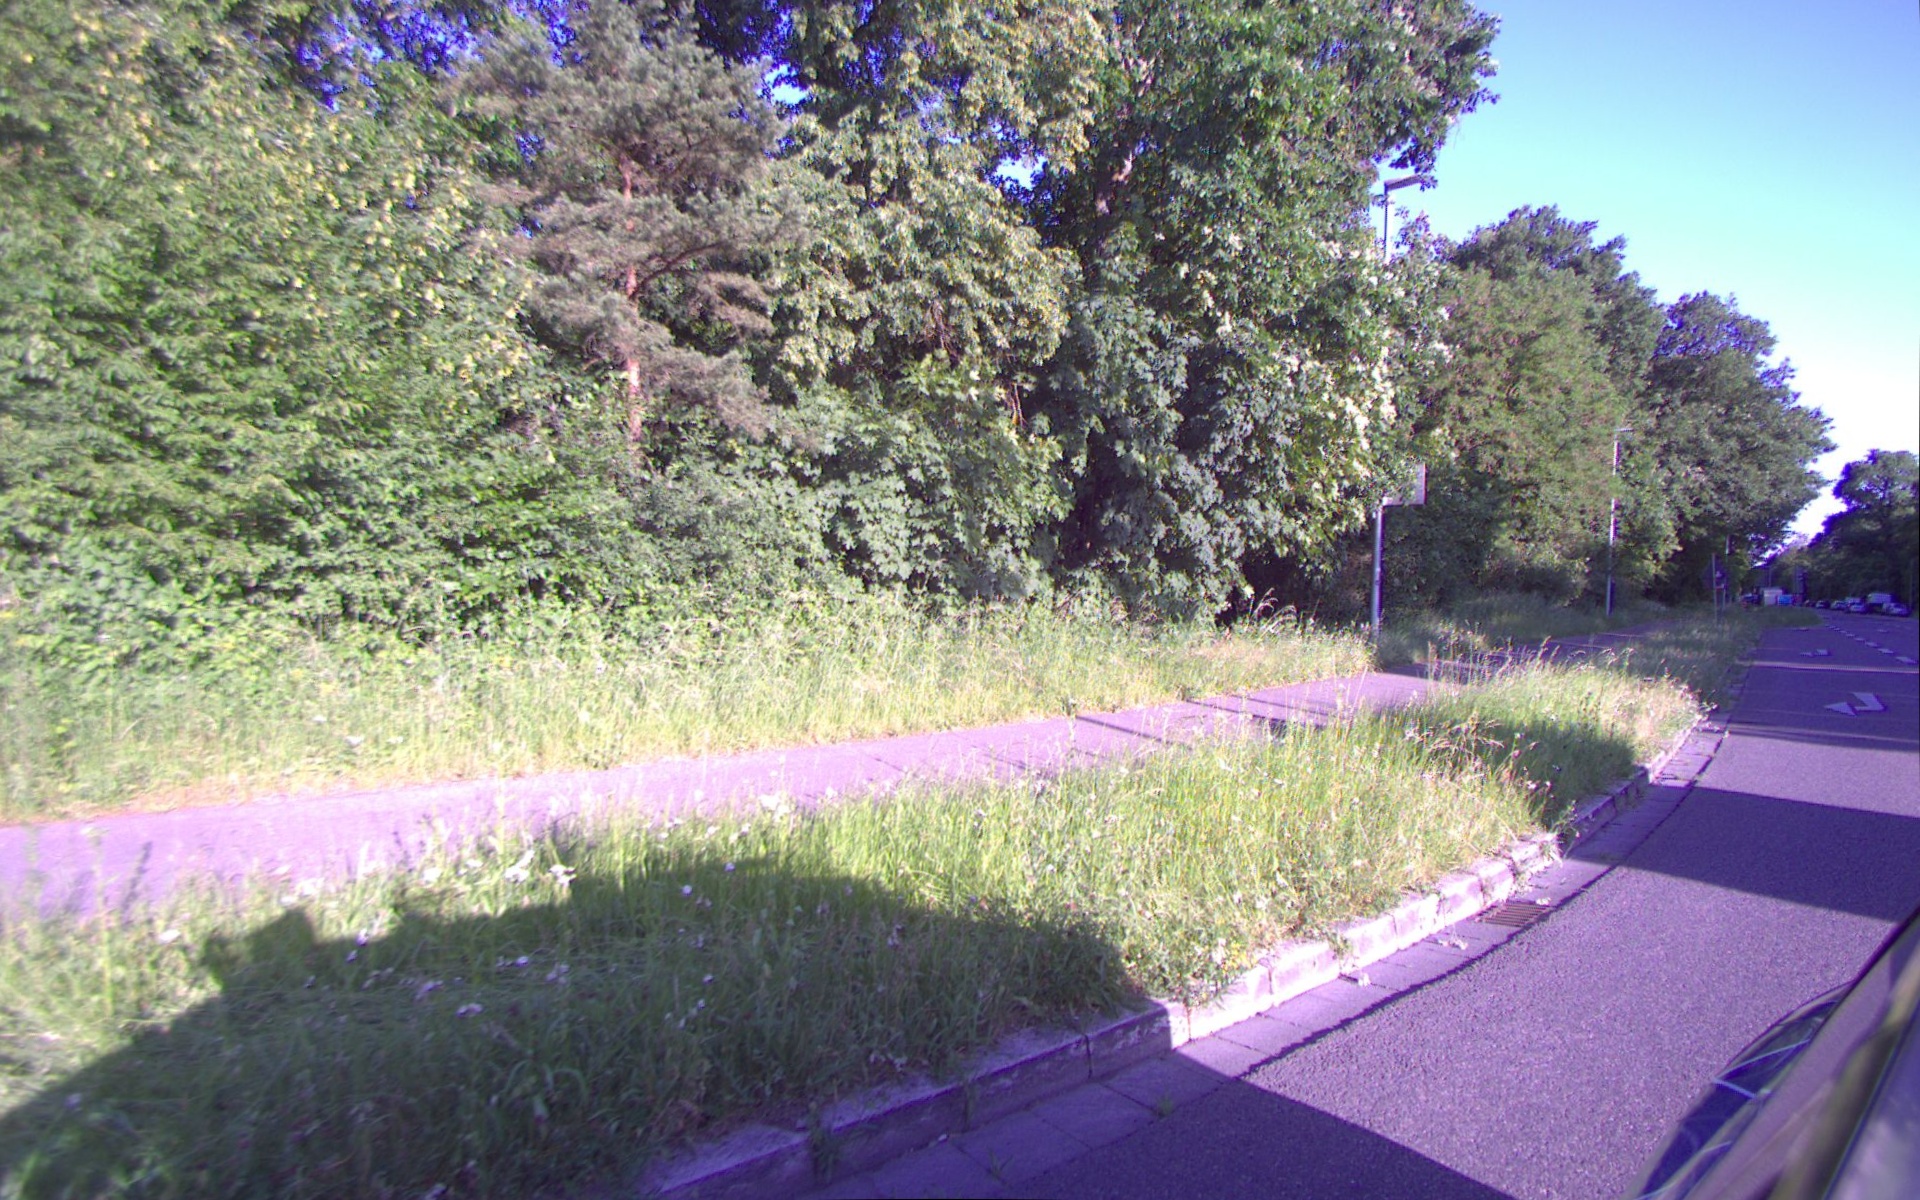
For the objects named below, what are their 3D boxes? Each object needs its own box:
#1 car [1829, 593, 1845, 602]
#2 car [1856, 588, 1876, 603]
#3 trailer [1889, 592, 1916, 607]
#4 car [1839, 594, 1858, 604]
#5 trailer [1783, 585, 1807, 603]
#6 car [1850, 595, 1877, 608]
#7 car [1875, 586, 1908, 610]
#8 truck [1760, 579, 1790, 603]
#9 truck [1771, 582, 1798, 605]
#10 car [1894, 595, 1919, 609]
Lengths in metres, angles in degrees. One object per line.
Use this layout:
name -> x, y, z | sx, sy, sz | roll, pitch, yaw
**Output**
car -> 156.455, -0.416, 180.593 | 1.797, 1.523, 3.862 | 4, 3, 36
car -> 140.794, -0.680, 157.272 | 1.683, 2.127, 4.573 | 4, 3, 36
trailer -> 113.863, -0.065, 122.283 | 1.797, 1.750, 3.601 | 4, 3, 36
car -> 147.271, -0.193, 167.757 | 1.797, 1.523, 3.862 | 4, 3, 36
trailer -> 100.306, -0.730, 121.590 | 1.859, 2.205, 4.076 | 1, 1, 36
car -> 108.708, 0.183, 121.847 | 1.823, 1.473, 4.425 | 2, 2, 35
car -> 121.501, -0.328, 132.057 | 2.448, 2.881, 4.737 | 4, 3, 36
truck -> 116.054, -1.302, 144.174 | 2.692, 3.276, 7.037 | 4, 3, 36
truck -> 110.606, -0.894, 135.807 | 2.376, 2.908, 5.527 | -1, 0, 36
car -> 111.249, 0.230, 118.720 | 1.905, 1.482, 3.960 | 4, 3, 36
